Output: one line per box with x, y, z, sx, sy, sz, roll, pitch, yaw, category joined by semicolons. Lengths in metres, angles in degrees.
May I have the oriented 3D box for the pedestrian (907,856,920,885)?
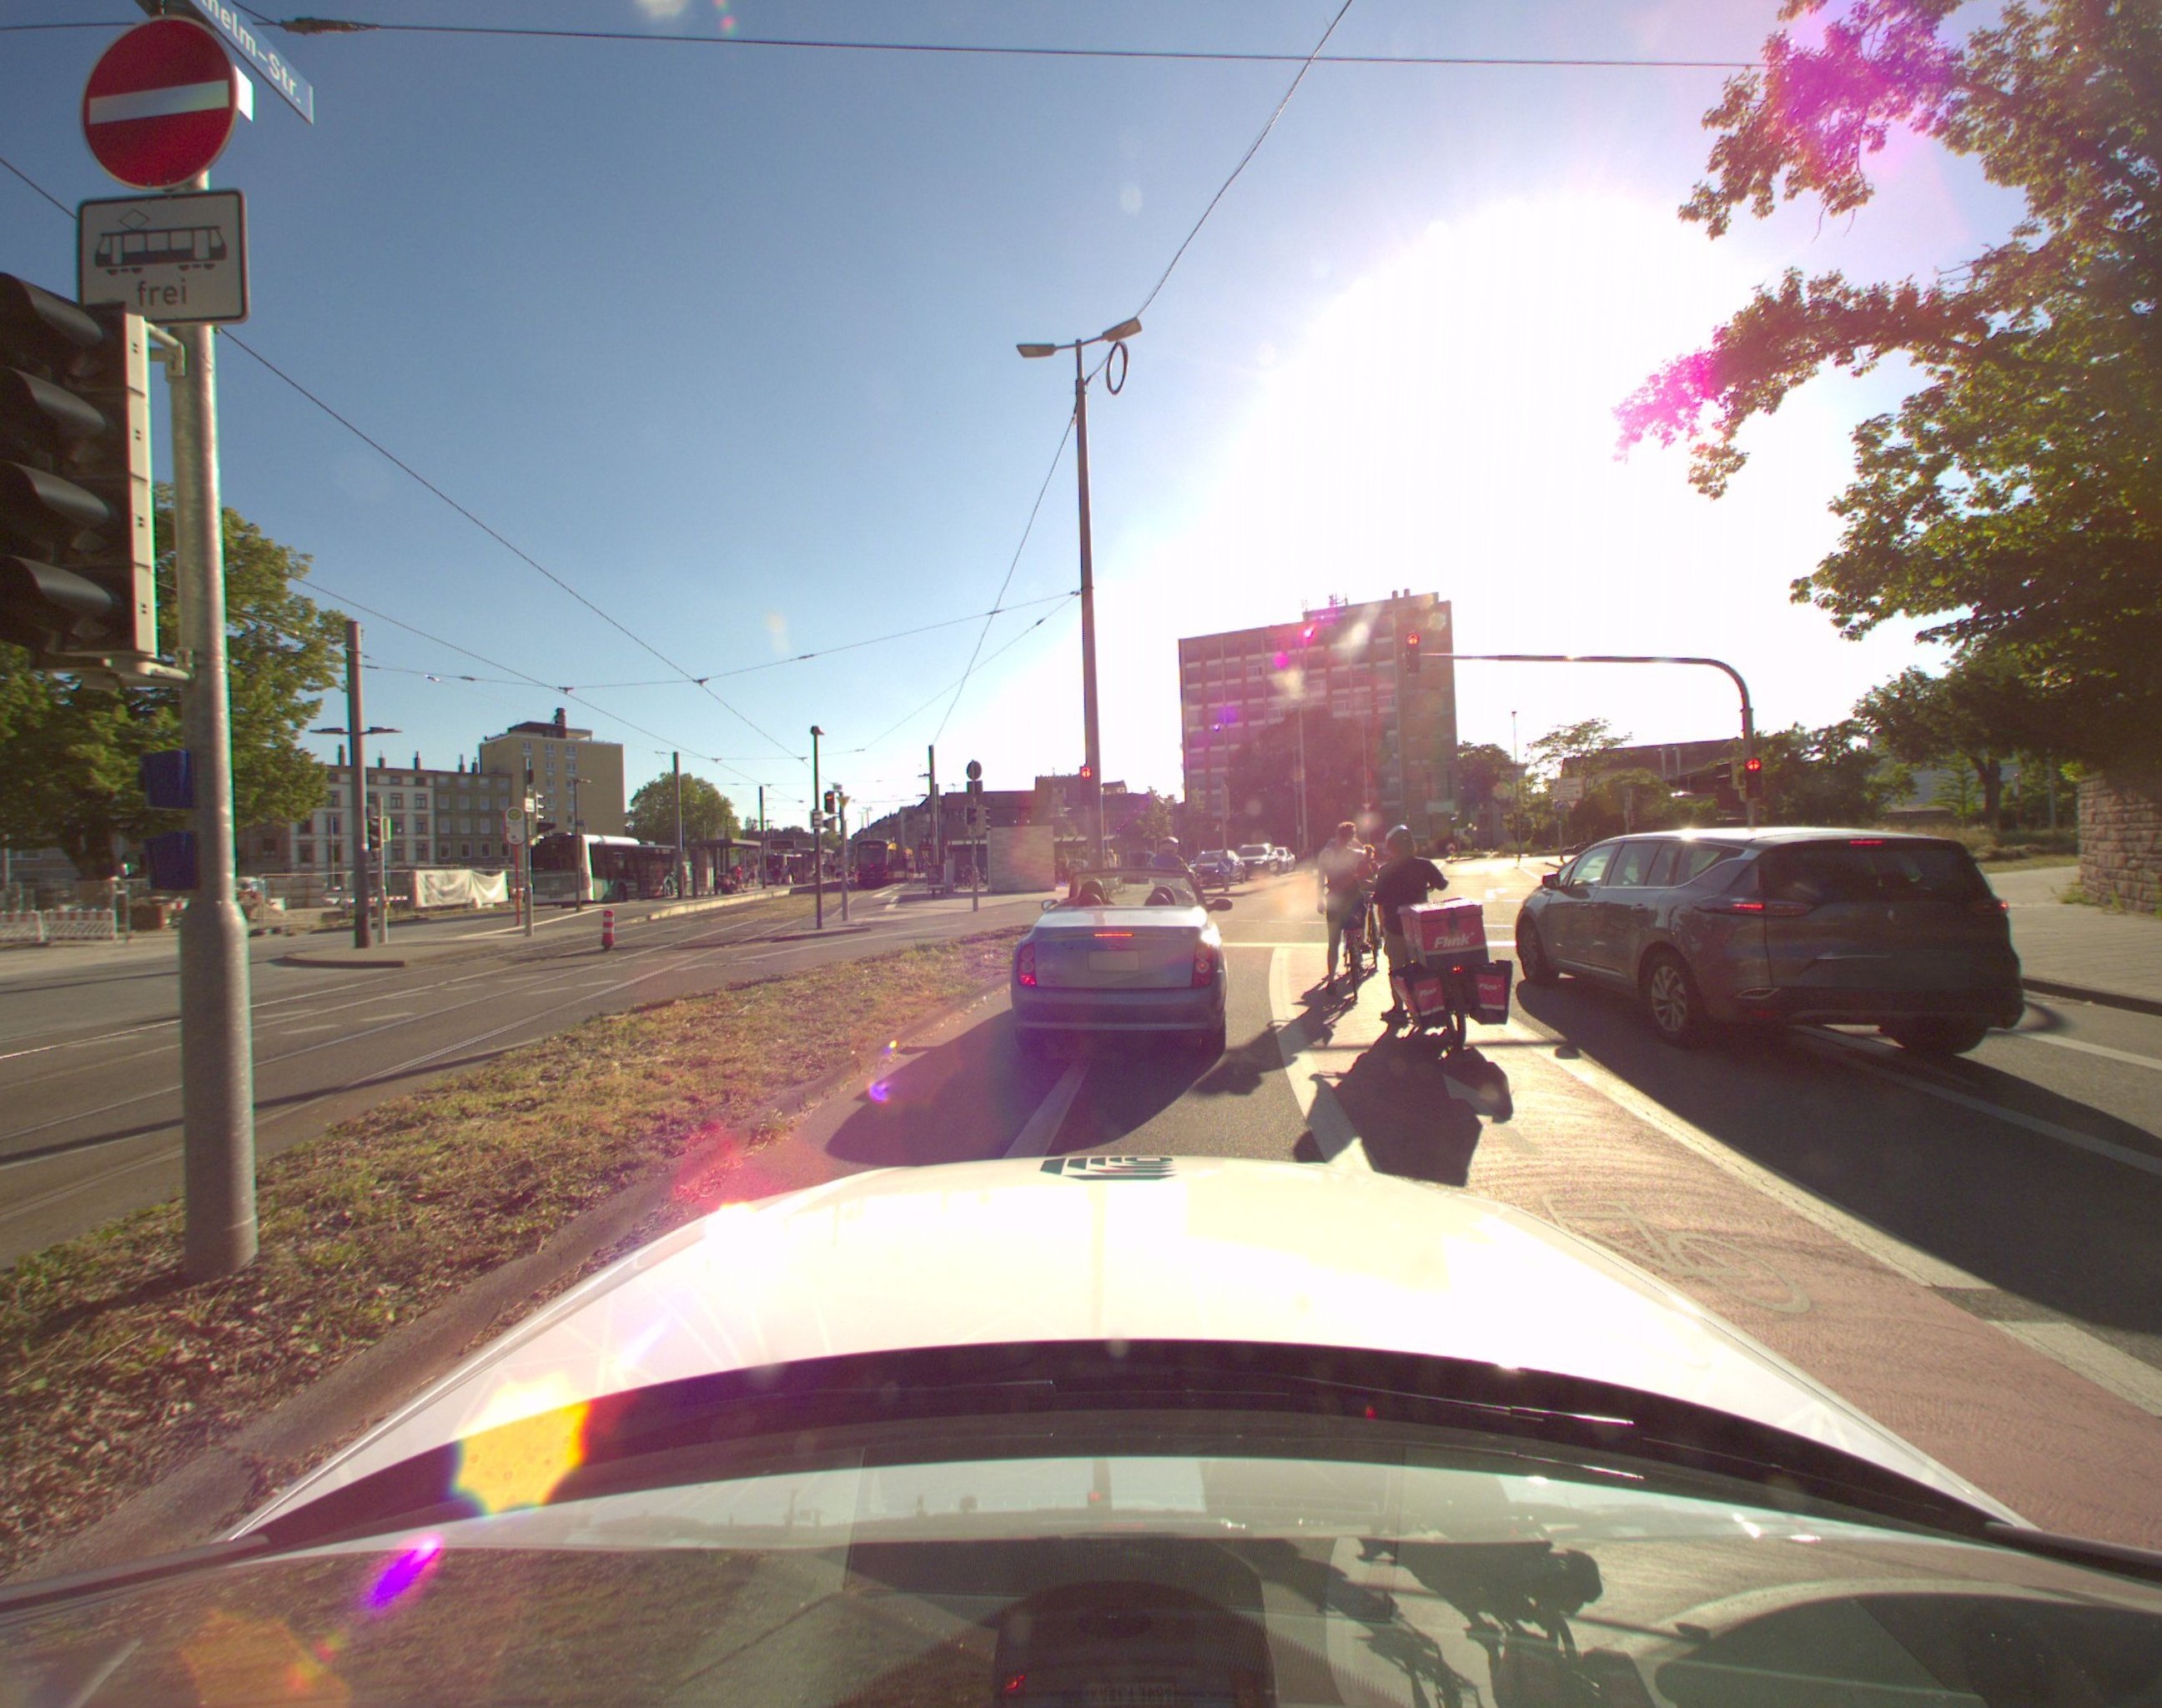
-10.440;1.015;50.724;0.639;1.749;0.569;-2;-1;-17;pedestrian

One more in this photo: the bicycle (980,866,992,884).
-5.901;1.286;50.626;0.607;1.115;1.890;0;-1;-10;bicycle

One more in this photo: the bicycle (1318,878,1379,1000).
2.934;0.869;9.023;0.559;1.151;1.958;-1;-1;17;bicycle

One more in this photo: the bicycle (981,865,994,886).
-5.374;1.224;46.736;0.607;1.115;1.890;0;-1;-10;bicycle

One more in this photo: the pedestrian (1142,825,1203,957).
1.369;0.526;12.059;0.828;1.869;0.923;-1;-1;10;pedestrian

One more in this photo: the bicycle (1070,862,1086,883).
-0.179;1.014;45.413;0.607;1.115;1.890;0;-1;-10;bicycle

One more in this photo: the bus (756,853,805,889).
-29.668;1.586;80.949;2.723;3.274;13.409;0;-1;-12;bus

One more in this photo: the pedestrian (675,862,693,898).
-19.620;1.271;40.266;0.536;1.749;0.559;-2;-1;-4;pedestrian

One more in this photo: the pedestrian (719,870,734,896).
-18.602;1.520;42.778;0.617;1.340;0.438;-2;-1;-15;pedestrian

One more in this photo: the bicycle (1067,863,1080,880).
-0.557;1.204;56.913;0.607;1.115;1.890;0;-1;-10;bicycle

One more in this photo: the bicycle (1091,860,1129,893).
1.154;0.846;31.574;0.668;1.180;2.195;-3;0;24;bicycle

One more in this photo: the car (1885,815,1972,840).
61.285;-1.884;58.979;3.948;1.530;1.816;-4;-1;30;car

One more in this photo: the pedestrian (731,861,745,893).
-19.111;1.274;45.341;0.571;1.749;0.636;-2;-1;-15;pedestrian

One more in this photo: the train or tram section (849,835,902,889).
-15.261;0.581;61.217;2.881;3.597;12.158;0;-1;-10;train or tram section

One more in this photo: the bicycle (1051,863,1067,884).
-1.253;1.081;45.297;0.607;1.115;1.890;0;-1;-10;bicycle

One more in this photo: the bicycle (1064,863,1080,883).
-0.541;1.092;47.354;0.607;1.115;1.890;0;-1;-10;bicycle

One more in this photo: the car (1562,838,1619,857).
47.769;-0.591;76.342;4.337;1.530;1.817;-4;-1;35;car

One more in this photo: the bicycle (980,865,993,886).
-5.177;1.192;44.667;0.607;1.115;1.890;0;-1;-10;bicycle

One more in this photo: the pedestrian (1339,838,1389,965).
3.771;0.605;10.847;0.583;1.598;1.030;-1;-1;19;pedestrian

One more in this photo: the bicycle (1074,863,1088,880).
-0.030;1.131;53.392;0.607;1.115;1.890;0;-1;-10;bicycle

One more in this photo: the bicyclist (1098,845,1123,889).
1.147;0.489;31.603;0.702;1.657;0.747;-3;-1;24;bicyclist

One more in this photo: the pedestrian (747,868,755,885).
-34.183;2.290;84.348;0.638;1.749;0.570;-2;-1;-10;pedestrian

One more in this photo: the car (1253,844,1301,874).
11.166;0.251;46.218;1.678;1.560;4.004;-3;0;28;car

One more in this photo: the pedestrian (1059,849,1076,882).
-0.767;0.682;46.899;0.901;1.869;0.684;0;-1;-11;pedestrian

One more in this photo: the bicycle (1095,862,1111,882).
1.239;1.006;45.681;0.606;1.115;1.892;0;-1;-7;bicycle

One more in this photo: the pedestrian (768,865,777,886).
-25.410;1.781;67.066;0.571;1.749;0.636;-2;-1;-17;pedestrian

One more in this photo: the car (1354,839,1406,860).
31.193;-0.455;85.024;4.645;1.945;1.927;-3;-1;35;car

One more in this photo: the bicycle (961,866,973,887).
-6.212;1.231;44.361;0.607;1.115;1.890;0;-1;-10;bicycle

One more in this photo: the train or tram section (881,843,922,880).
-18.600;0.812;85.230;3.037;3.597;12.021;0;0;-7;train or tram section

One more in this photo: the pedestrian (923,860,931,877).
-15.551;1.457;82.113;0.639;1.749;0.732;-2;-1;-17;pedestrian

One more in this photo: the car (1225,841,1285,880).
8.546;0.258;39.677;1.745;1.706;4.557;-4;-1;26;car

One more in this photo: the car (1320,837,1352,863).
20.505;-0.348;65.295;1.891;1.945;4.733;-3;0;24;car

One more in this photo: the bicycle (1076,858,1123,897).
0.675;0.810;28.971;0.668;1.250;2.471;-5;-1;24;bicycle

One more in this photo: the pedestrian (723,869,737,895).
-18.732;1.473;43.465;0.571;1.346;0.636;-2;-1;-15;pedestrian

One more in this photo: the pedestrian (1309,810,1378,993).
2.836;0.489;8.840;0.654;1.869;0.876;-1;-1;17;pedestrian

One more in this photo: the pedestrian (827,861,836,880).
-22.642;1.499;73.852;0.641;1.749;0.567;-2;-1;-25;pedestrian

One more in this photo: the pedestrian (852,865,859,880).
-27.916;2.288;100.892;0.732;1.749;0.638;-2;-1;-6;pedestrian

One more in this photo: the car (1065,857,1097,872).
-0.030;1.176;88.865;1.653;1.560;3.559;-2;0;-37;car

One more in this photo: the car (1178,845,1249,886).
5.547;0.468;33.644;1.720;1.574;3.948;-1;-1;28;car

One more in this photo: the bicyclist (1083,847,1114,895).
0.628;0.595;28.905;0.702;1.657;0.906;-5;-2;24;bicyclist

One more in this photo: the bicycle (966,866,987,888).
-5.466;1.202;42.737;0.603;1.115;1.901;-1;-1;8;bicycle

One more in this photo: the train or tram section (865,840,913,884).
-17.066;0.704;73.259;3.010;3.597;12.165;0;-1;-8;train or tram section

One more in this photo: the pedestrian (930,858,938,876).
-14.874;1.334;82.442;0.639;1.749;0.732;-2;-1;-17;pedestrian

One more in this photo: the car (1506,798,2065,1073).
5.541;0.522;7.322;1.820;1.689;4.381;-1;-1;10;car

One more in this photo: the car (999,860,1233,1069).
0.549;0.782;7.798;1.650;1.441;4.164;-1;-1;9;car

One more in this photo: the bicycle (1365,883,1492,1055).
2.935;0.872;7.096;0.550;1.171;2.380;-1;-1;12;bicycle

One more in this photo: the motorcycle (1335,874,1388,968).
3.827;0.844;11.106;0.608;1.097;2.371;-1;-1;19;motorcycle

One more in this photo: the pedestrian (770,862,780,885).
-23.616;1.522;62.835;0.641;1.749;0.567;-2;-1;-25;pedestrian

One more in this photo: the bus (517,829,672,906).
-22.370;0.572;38.224;2.652;3.135;9.617;0;-1;-8;bus

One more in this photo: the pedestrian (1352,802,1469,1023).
2.978;0.502;7.449;0.801;1.869;0.959;-1;-1;10;pedestrian

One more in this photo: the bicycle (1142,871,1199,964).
1.358;0.865;11.989;0.604;1.191;2.422;-1;-1;12;bicycle

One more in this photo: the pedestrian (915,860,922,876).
-18.072;1.529;90.537;0.604;1.749;0.830;-2;-1;-6;pedestrian

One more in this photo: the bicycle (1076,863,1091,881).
0.131;1.137;51.415;0.607;1.115;1.890;0;-1;-10;bicycle

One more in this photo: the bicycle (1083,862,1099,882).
0.557;1.054;47.716;0.607;1.115;1.890;0;-1;-10;bicycle

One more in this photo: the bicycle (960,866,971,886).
-6.560;1.250;46.295;0.606;1.115;1.891;0;-1;-8;bicycle
